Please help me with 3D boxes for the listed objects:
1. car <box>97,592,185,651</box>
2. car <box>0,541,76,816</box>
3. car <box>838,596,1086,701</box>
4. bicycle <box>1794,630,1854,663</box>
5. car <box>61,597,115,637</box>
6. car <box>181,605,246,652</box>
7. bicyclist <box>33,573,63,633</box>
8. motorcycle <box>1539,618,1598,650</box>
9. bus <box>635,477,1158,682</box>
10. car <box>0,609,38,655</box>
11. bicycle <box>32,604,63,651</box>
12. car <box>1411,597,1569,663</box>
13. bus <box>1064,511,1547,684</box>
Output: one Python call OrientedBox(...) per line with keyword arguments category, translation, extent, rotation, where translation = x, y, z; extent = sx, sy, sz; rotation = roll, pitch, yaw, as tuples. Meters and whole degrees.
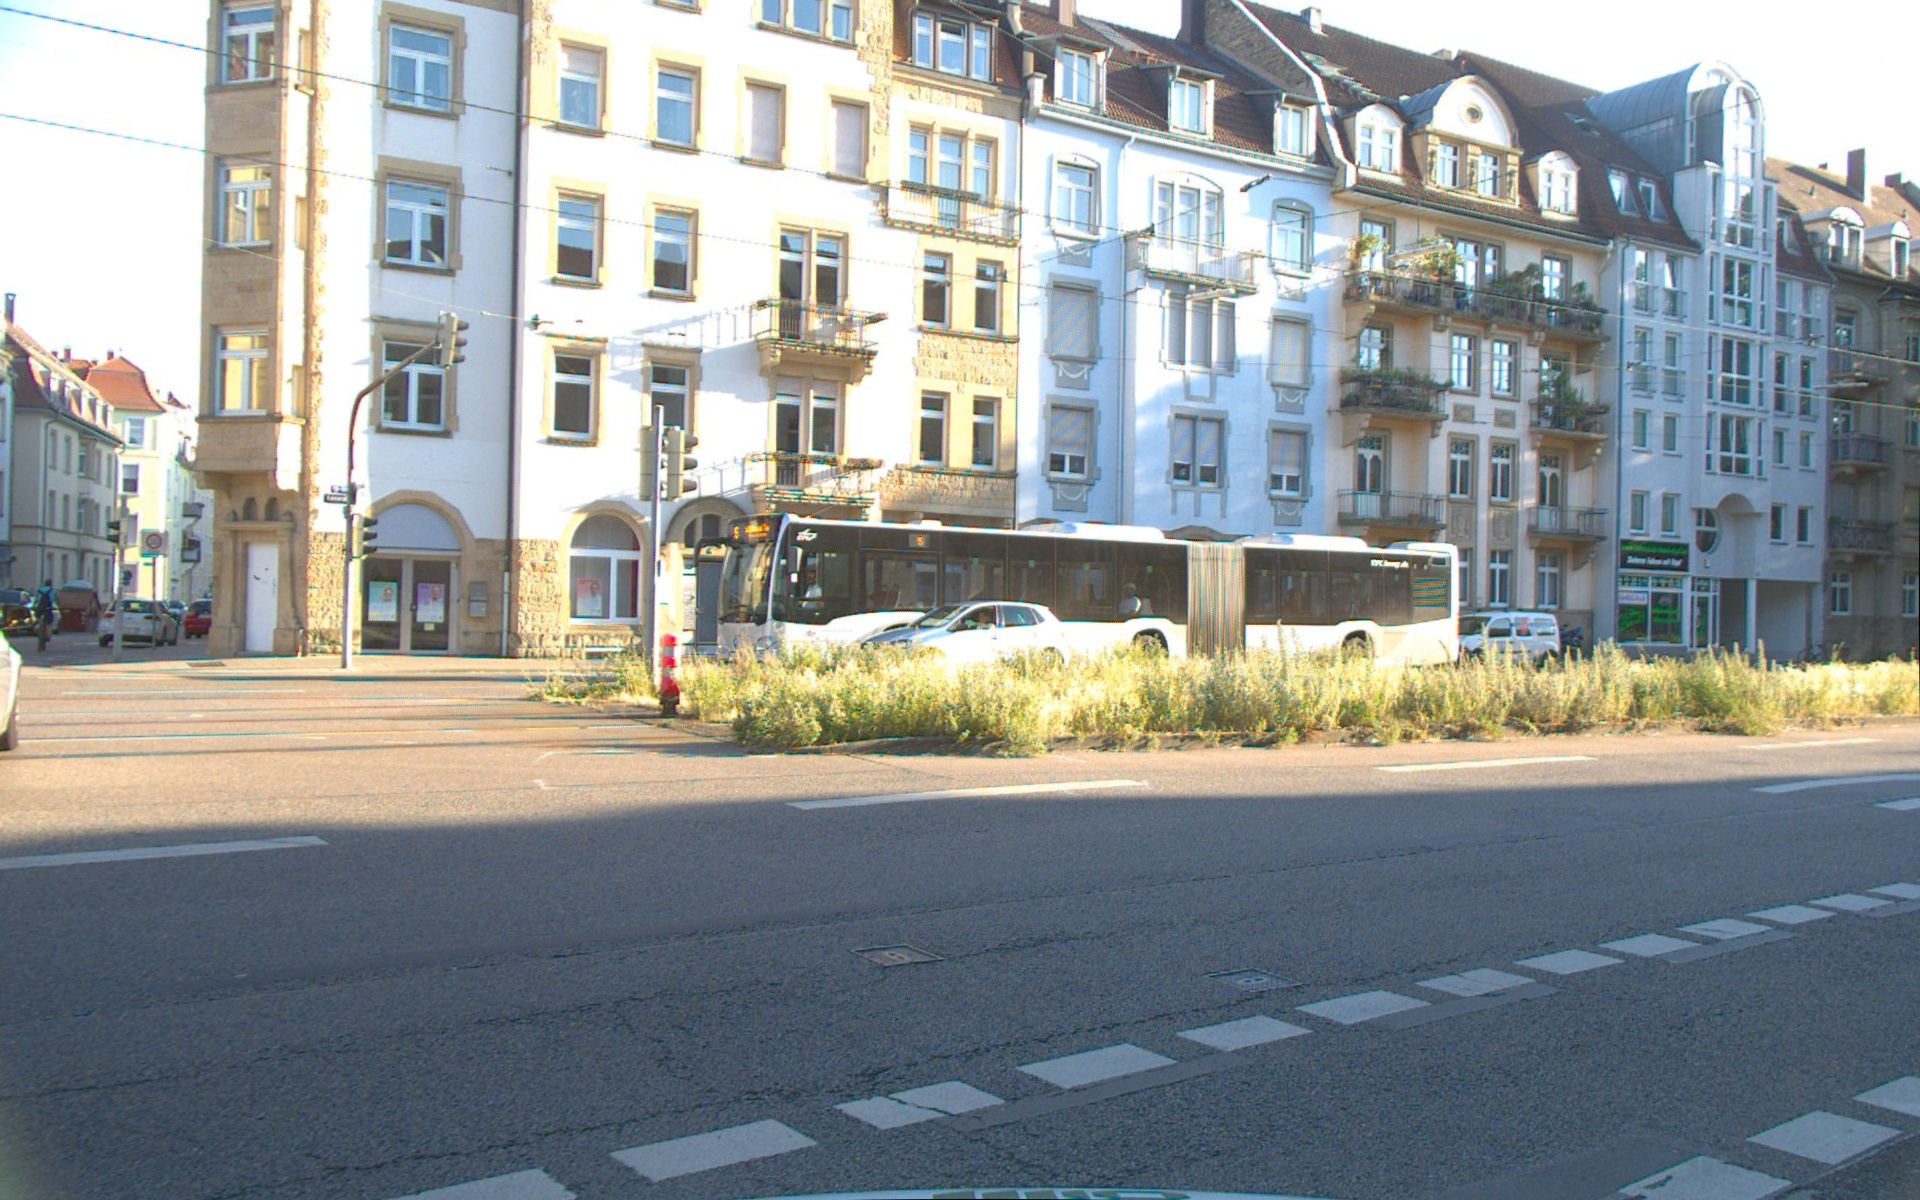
OrientedBox(category="car", translation=(-24.587, 0.632, 49.772), extent=(1.802, 1.644, 3.978), rotation=(2, -1, -19))
OrientedBox(category="car", translation=(-6.572, 0.365, 10.039), extent=(1.709, 1.503, 4.143), rotation=(2, 1, -23))
OrientedBox(category="car", translation=(0.047, 0.854, 29.102), extent=(3.943, 1.713, 1.918), rotation=(2, -1, -29))
OrientedBox(category="bicycle", translation=(30.652, 1.642, 58.692), extent=(1.860, 1.050, 0.756), rotation=(2, 5, -19))
OrientedBox(category="car", translation=(-40.431, 0.774, 76.736), extent=(1.805, 1.777, 3.971), rotation=(2, -1, -23))
OrientedBox(category="car", translation=(-29.434, 1.100, 65.333), extent=(1.801, 1.736, 3.981), rotation=(2, -1, -17))
OrientedBox(category="bicyclist", translation=(-23.410, 0.075, 42.467), extent=(0.603, 1.520, 0.760), rotation=(2, -1, -28))
OrientedBox(category="motorcycle", translation=(20.769, 1.162, 56.451), extent=(2.390, 1.038, 0.524), rotation=(1, 2, -33))
OrientedBox(category="bus", translation=(-1.039, -0.234, 31.969), extent=(9.767, 3.433, 3.241), rotation=(2, -1, -31))
OrientedBox(category="car", translation=(-36.215, 1.174, 62.342), extent=(1.802, 1.644, 3.978), rotation=(2, -1, -19))
OrientedBox(category="bicycle", translation=(-23.496, 0.695, 42.599), extent=(0.612, 1.124, 2.529), rotation=(2, -1, -28))
OrientedBox(category="car", translation=(15.660, 0.900, 48.824), extent=(4.590, 1.818, 1.891), rotation=(2, -1, -31))
OrientedBox(category="bus", translation=(8.138, 0.102, 37.702), extent=(11.820, 3.433, 3.230), rotation=(2, -1, -32))
